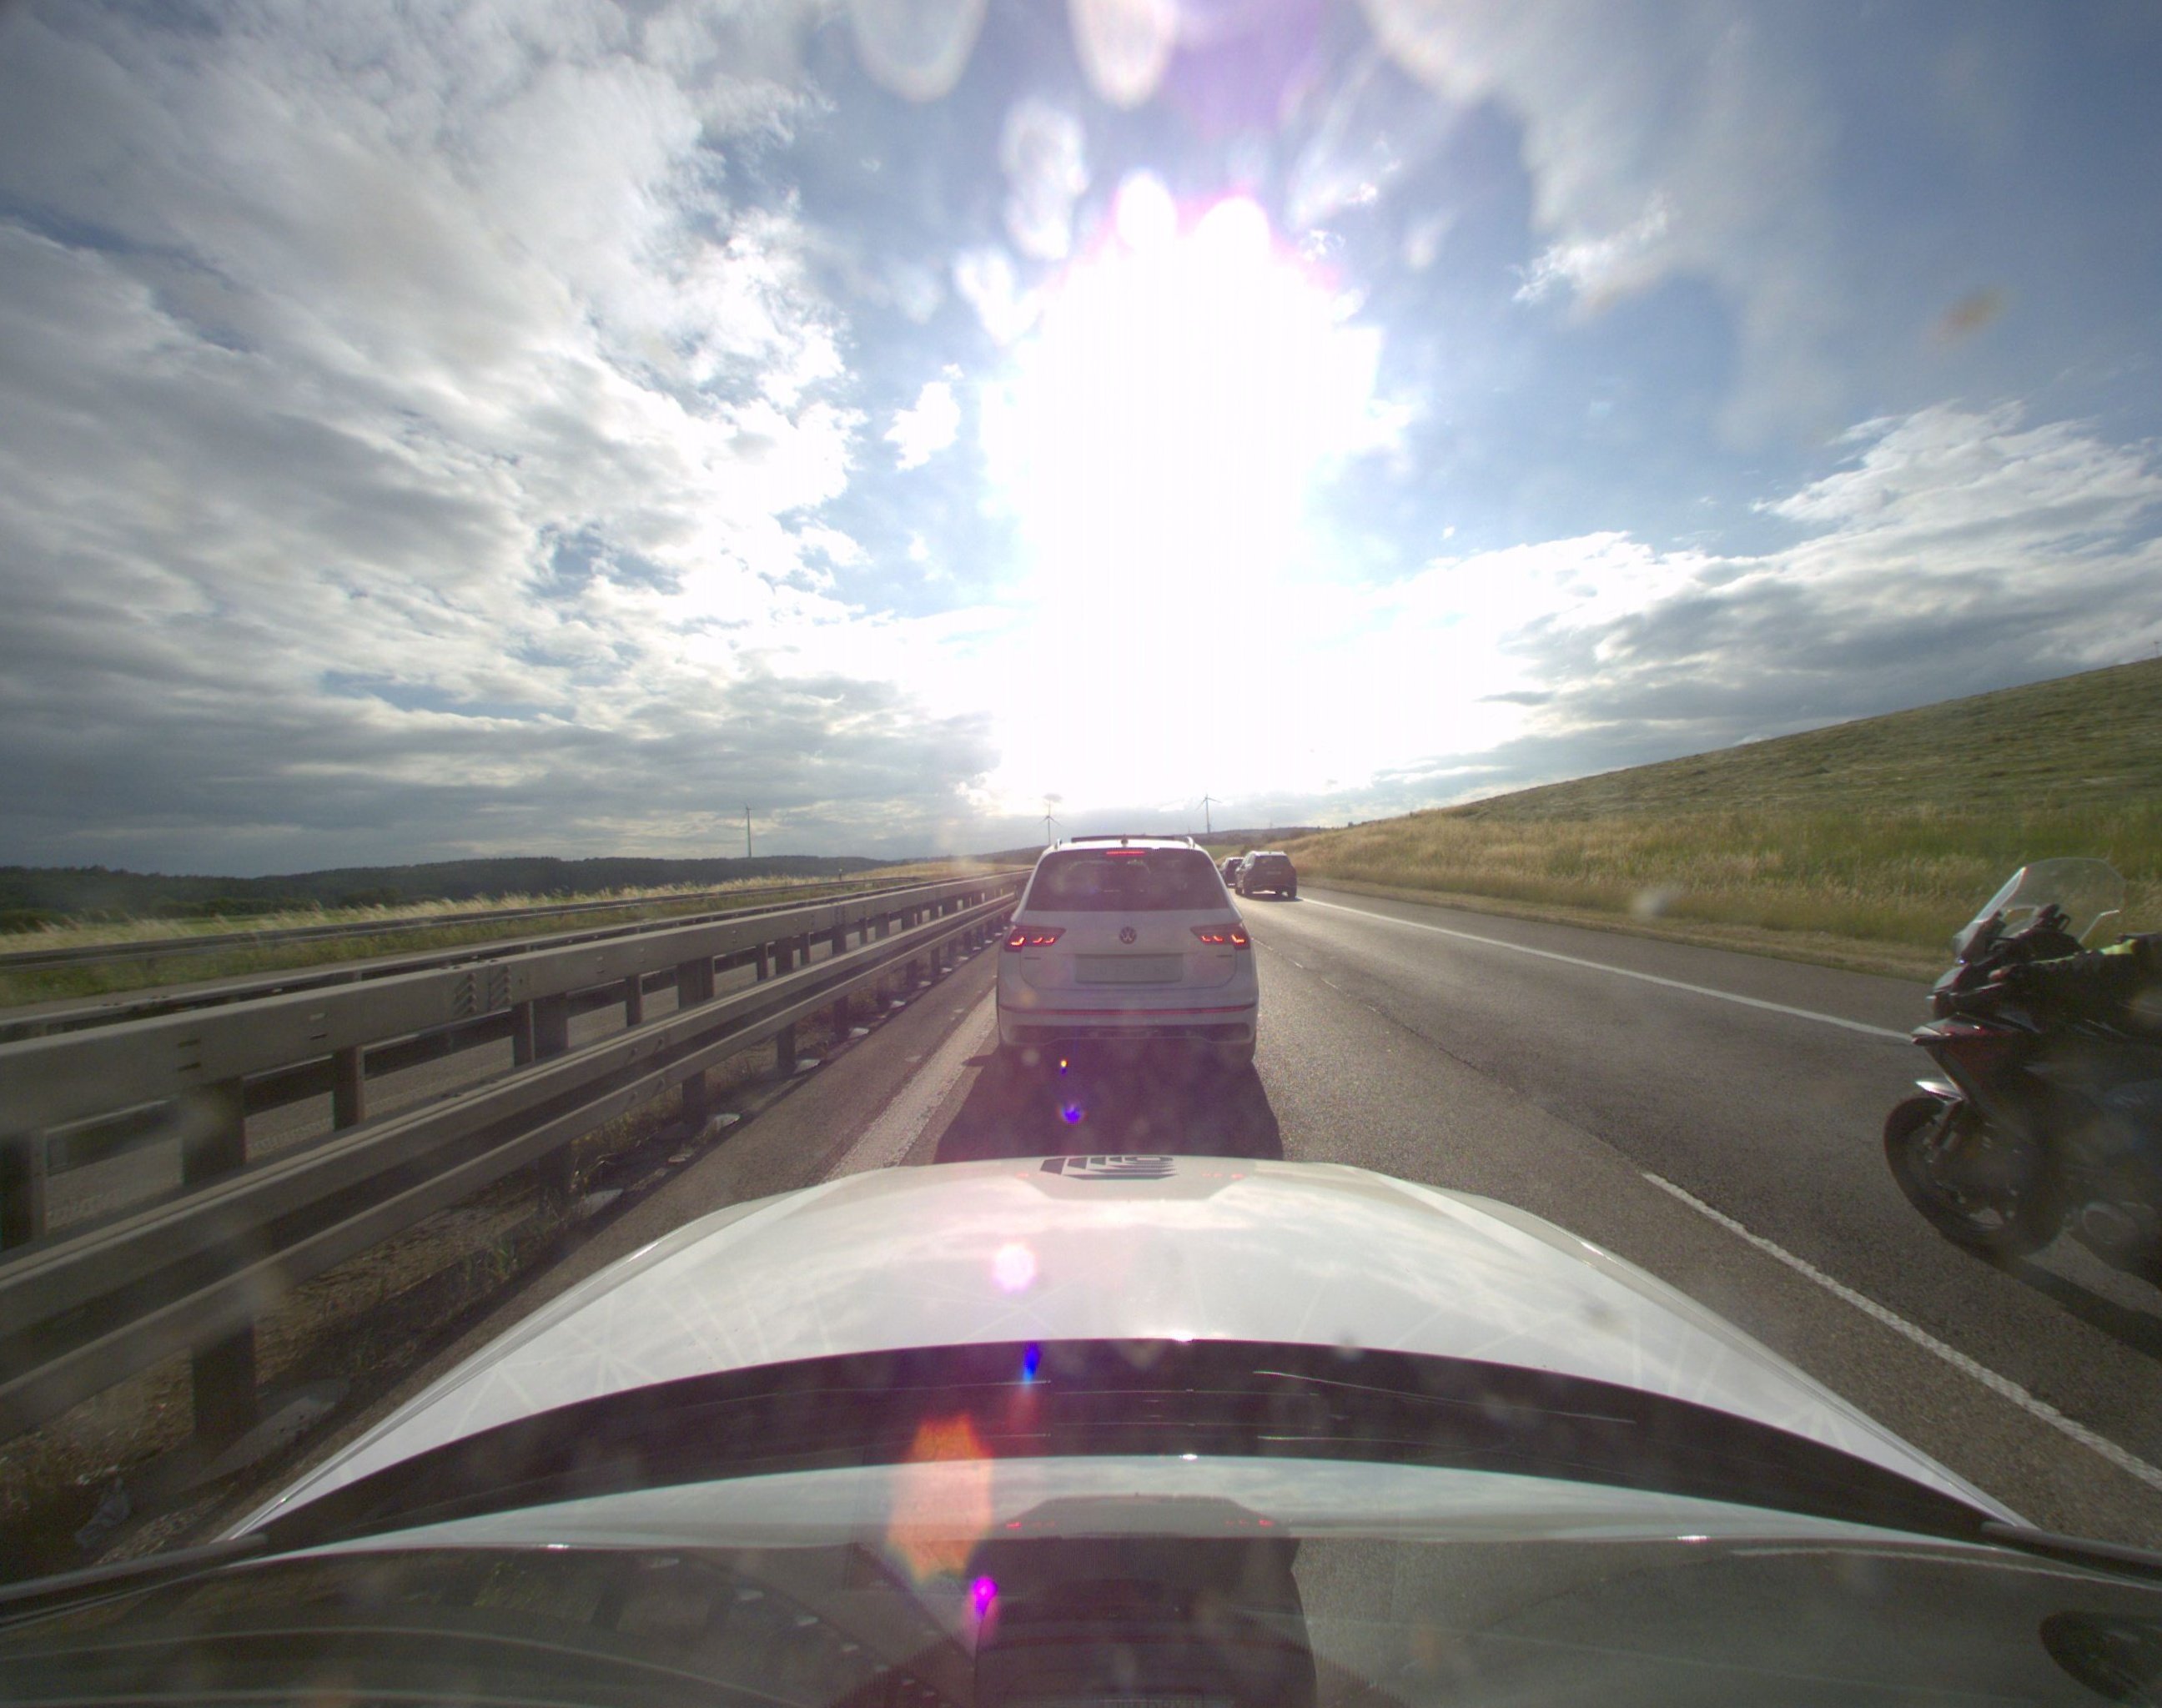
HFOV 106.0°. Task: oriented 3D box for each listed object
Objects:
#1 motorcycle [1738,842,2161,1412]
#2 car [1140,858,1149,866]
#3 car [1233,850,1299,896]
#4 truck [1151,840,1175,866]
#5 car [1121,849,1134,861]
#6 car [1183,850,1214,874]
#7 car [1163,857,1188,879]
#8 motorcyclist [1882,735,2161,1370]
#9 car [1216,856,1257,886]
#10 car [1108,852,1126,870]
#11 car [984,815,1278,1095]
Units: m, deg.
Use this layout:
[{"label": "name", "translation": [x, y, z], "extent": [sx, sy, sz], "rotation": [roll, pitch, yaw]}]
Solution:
[{"label": "motorcycle", "translation": [3.204, 0.694, 2.287], "extent": [0.892, 1.455, 2.270], "rotation": [-1, -1, 1]}, {"label": "car", "translation": [13.860, 1.727, 178.622], "extent": [1.697, 1.546, 4.001], "rotation": [-1, -1, 2]}, {"label": "car", "translation": [6.842, 0.694, 30.525], "extent": [1.813, 1.601, 4.239], "rotation": [0, -1, 4]}, {"label": "truck", "translation": [12.364, -0.162, 123.954], "extent": [3.170, 3.594, 11.142], "rotation": [-1, 0, 4]}, {"label": "car", "translation": [6.248, 0.090, 110.102], "extent": [1.697, 1.546, 4.001], "rotation": [-1, -1, 2]}, {"label": "car", "translation": [8.114, 0.551, 56.406], "extent": [1.697, 1.546, 4.001], "rotation": [-1, -1, 2]}, {"label": "car", "translation": [7.615, 1.111, 65.886], "extent": [1.697, 1.650, 4.001], "rotation": [-1, -1, 2]}, {"label": "motorcyclist", "translation": [3.195, 0.501, 2.266], "extent": [0.892, 1.617, 1.022], "rotation": [-1, -1, 1]}, {"label": "car", "translation": [7.674, 0.828, 40.493], "extent": [1.598, 1.420, 3.676], "rotation": [-1, -1, 4]}, {"label": "car", "translation": [3.495, 0.655, 78.966], "extent": [1.697, 1.650, 4.001], "rotation": [-1, -1, 2]}, {"label": "car", "translation": [0.368, 0.636, 6.986], "extent": [1.763, 1.675, 4.001], "rotation": [-1, -1, 2]}]
